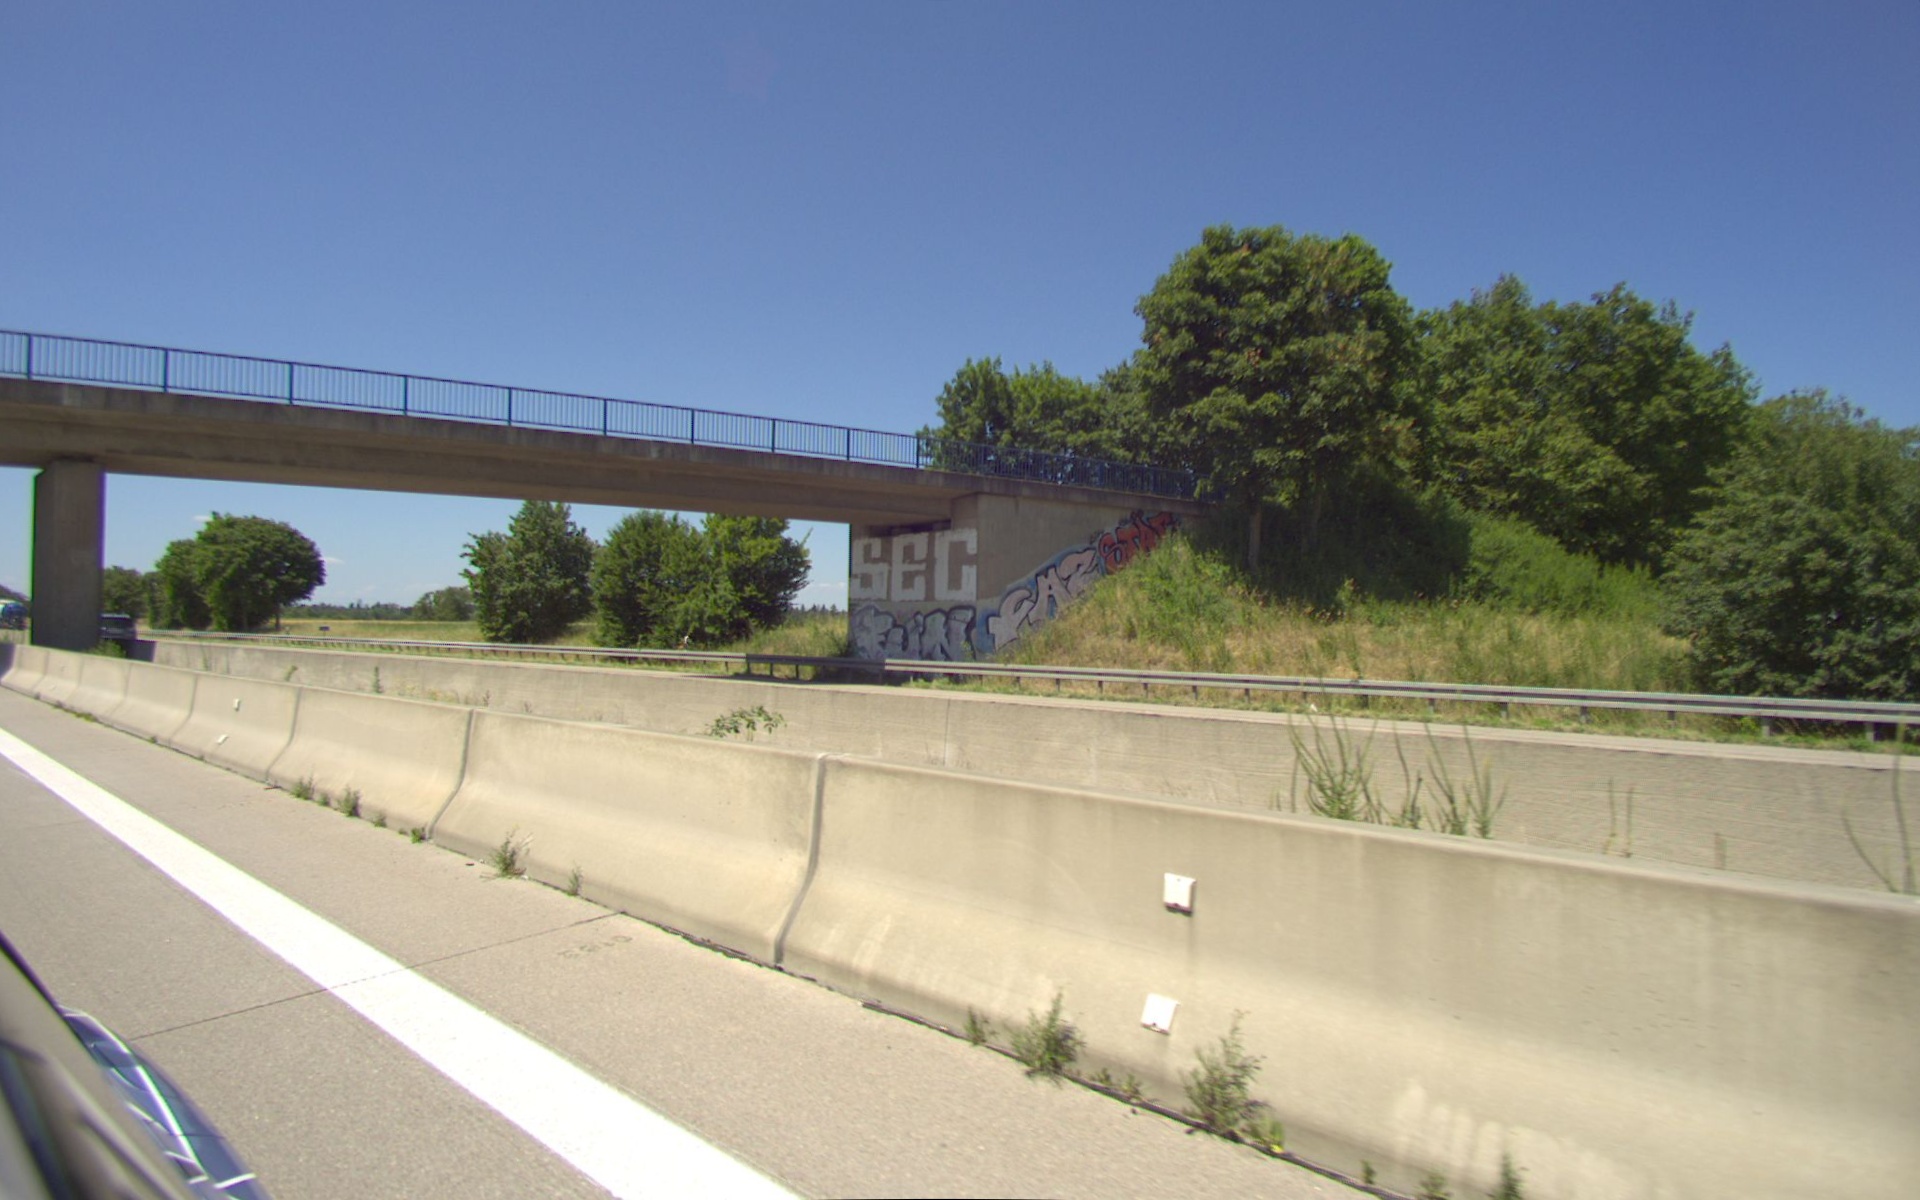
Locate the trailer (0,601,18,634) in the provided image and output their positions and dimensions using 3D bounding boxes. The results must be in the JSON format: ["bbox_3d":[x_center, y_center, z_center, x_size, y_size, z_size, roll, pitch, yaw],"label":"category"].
[{"bbox_3d":[-118.975,2.160,124.714,12.997,3.999,2.649,-1,-2,40],"label":"trailer"}]

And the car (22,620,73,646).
[{"bbox_3d":[-71.840,2.587,79.635,5.681,1.973,2.229,-1,-2,41],"label":"car"}]

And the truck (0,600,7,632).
[{"bbox_3d":[-123.419,2.006,128.495,6.615,3.999,2.629,-1,-2,40],"label":"truck"}]

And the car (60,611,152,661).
[{"bbox_3d":[-37.718,1.522,44.650,5.652,2.029,2.282,-1,0,41],"label":"car"}]
